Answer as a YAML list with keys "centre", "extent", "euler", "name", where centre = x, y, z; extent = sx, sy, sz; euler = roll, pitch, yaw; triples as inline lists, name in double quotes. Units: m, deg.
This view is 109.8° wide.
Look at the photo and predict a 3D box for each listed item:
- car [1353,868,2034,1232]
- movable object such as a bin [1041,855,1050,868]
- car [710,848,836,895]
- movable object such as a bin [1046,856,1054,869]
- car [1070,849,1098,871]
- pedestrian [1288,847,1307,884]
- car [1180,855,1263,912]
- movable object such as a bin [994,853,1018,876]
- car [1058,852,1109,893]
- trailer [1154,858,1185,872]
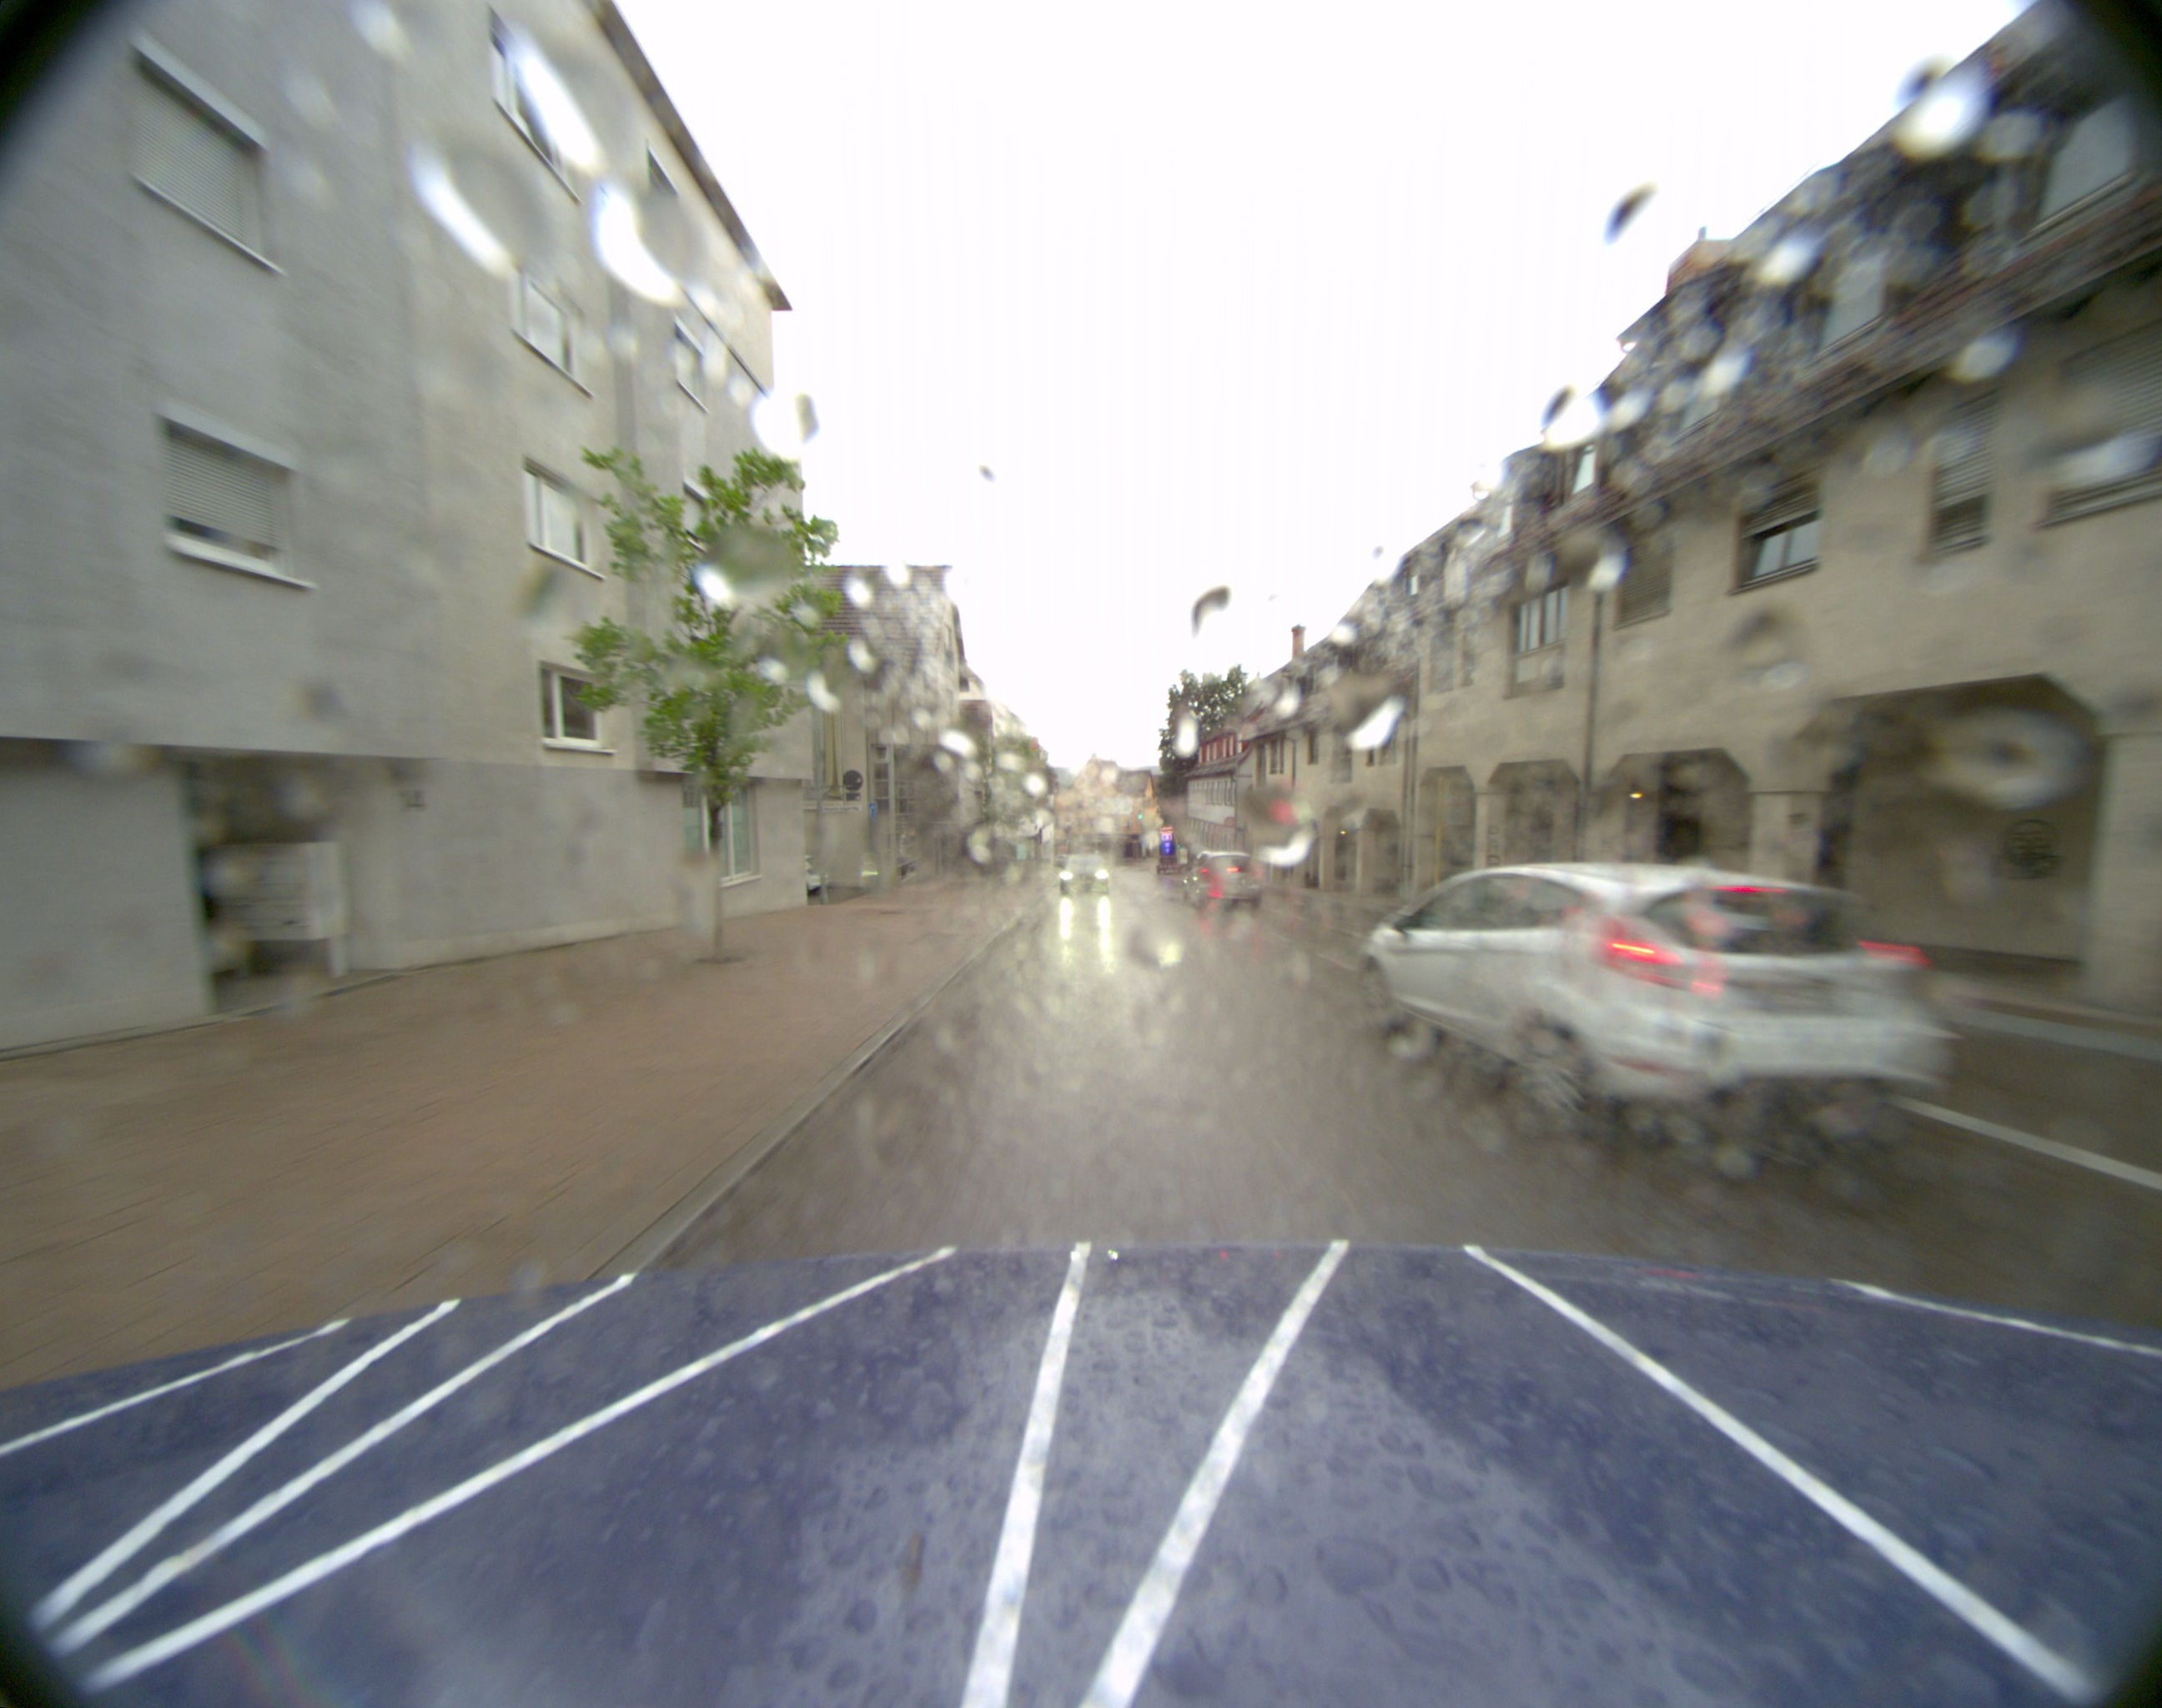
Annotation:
- centre: [3.332, 0.894, 5.131]
  extent: [1.681, 1.501, 3.588]
  euler: [0, 1, 0]
  name: "car"
- centre: [-2.889, 0.619, 61.584]
  extent: [0.571, 1.022, 0.467]
  euler: [1, 1, -40]
  name: "movable object such as a bin"
- centre: [-11.067, 0.616, 27.480]
  extent: [3.772, 1.446, 1.743]
  euler: [3, 2, -1]
  name: "car"
- centre: [-2.563, 0.718, 62.883]
  extent: [0.596, 1.022, 0.476]
  euler: [2, 1, 2]
  name: "movable object such as a bin"
- centre: [0.231, 0.457, 56.670]
  extent: [1.967, 1.598, 4.384]
  euler: [0, 0, 2]
  name: "car"
- centre: [10.508, 0.561, 36.920]
  extent: [0.690, 1.730, 0.735]
  euler: [-2, 1, 3]
  name: "pedestrian"
- centre: [4.002, 0.788, 22.162]
  extent: [1.681, 1.501, 3.588]
  euler: [0, 1, -1]
  name: "car"
- centre: [-4.403, 0.633, 44.776]
  extent: [1.237, 1.327, 1.172]
  euler: [1, 0, 2]
  name: "movable object such as a bin"
- centre: [0.146, 0.699, 31.536]
  extent: [1.967, 1.549, 4.622]
  euler: [0, 1, 1]
  name: "car"
- centre: [6.723, 0.828, 58.075]
  extent: [1.998, 0.900, 4.477]
  euler: [-2, 0, 3]
  name: "trailer"
